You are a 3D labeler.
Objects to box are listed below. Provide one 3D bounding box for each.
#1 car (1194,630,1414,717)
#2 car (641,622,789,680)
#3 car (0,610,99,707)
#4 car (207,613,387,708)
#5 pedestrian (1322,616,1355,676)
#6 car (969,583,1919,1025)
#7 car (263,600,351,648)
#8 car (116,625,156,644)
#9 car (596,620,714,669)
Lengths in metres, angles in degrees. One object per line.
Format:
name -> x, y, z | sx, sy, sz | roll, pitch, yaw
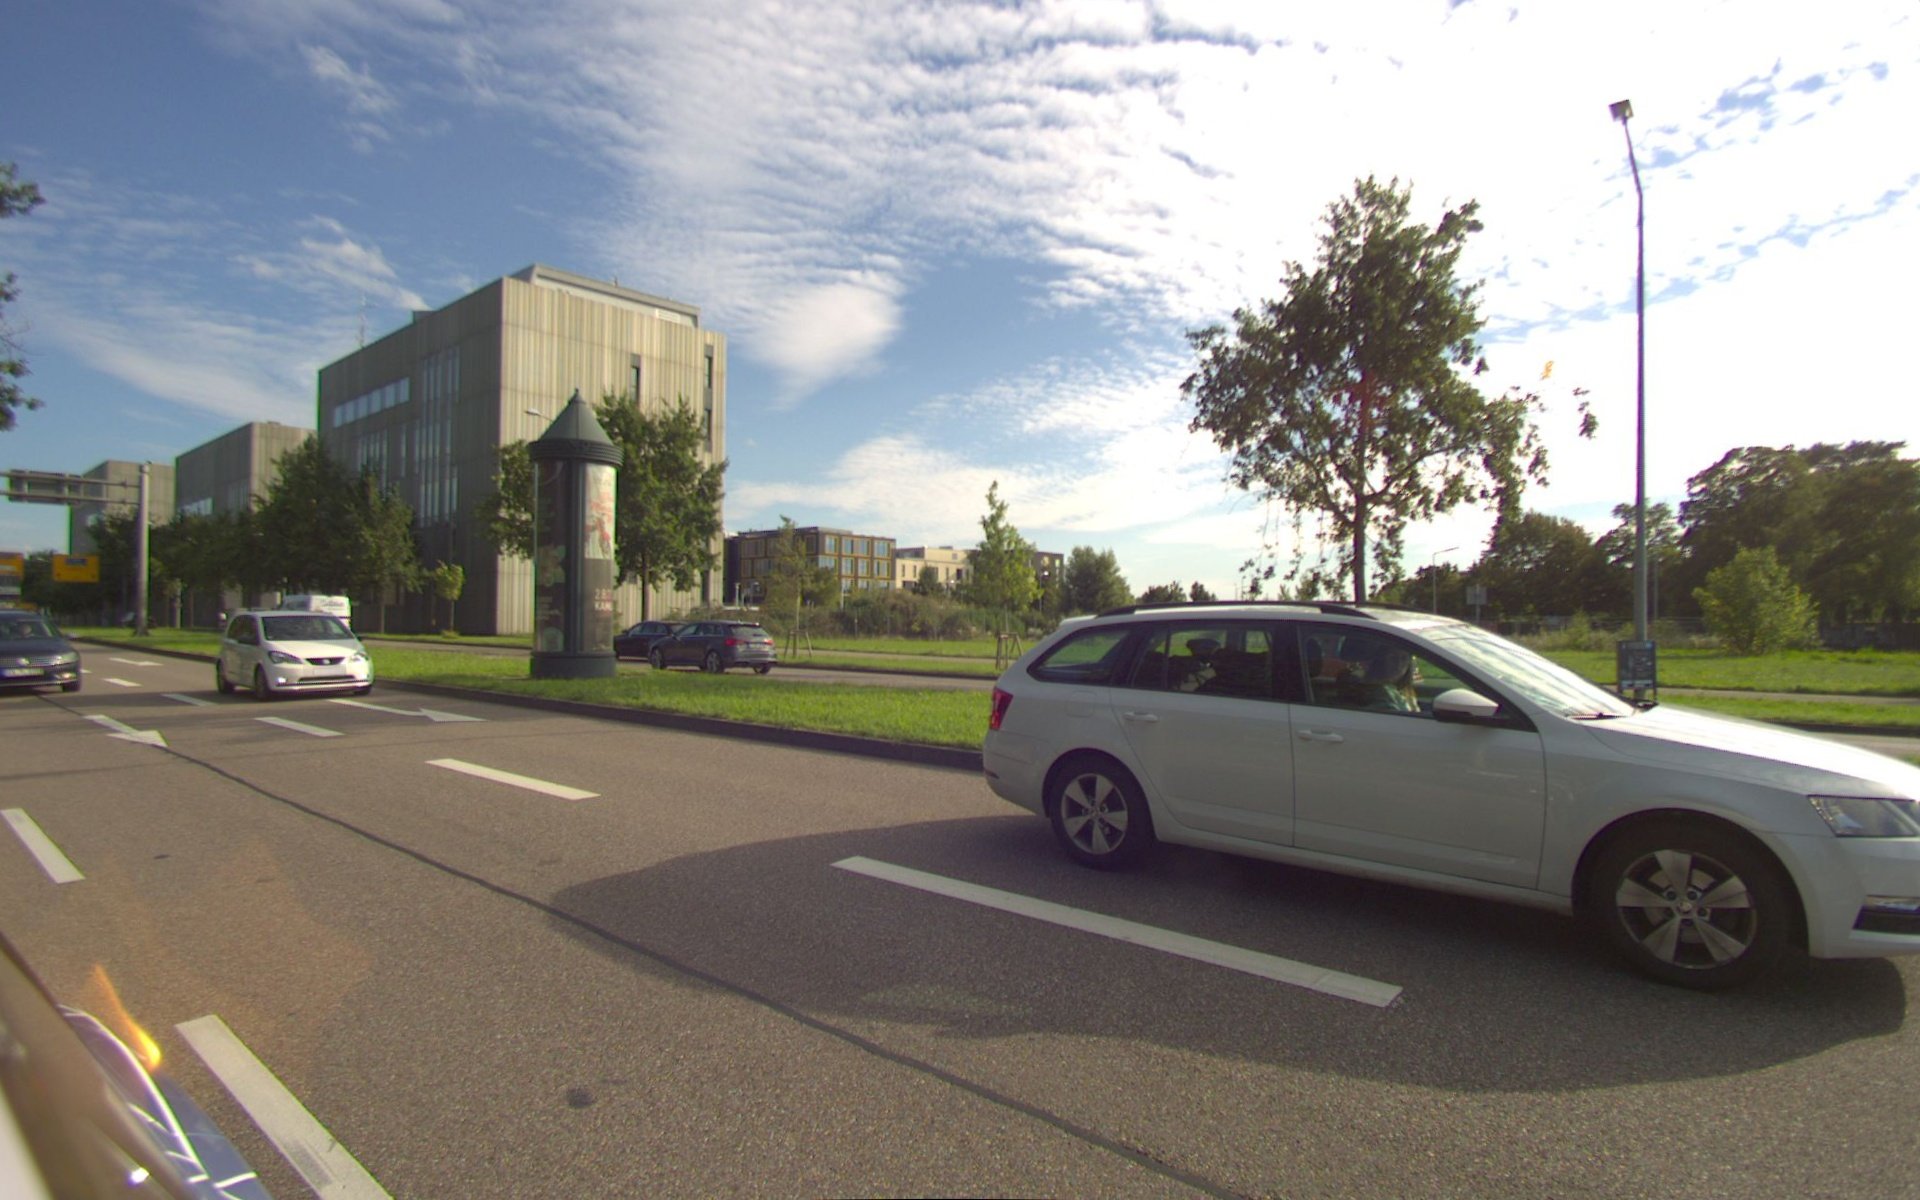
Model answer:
car -> 6.393, 1.308, 18.918 | 3.582, 1.445, 1.665 | -1, -2, 35
car -> -6.650, 1.351, 27.315 | 4.066, 1.445, 1.831 | -1, -4, 41
car -> -17.619, 1.016, 18.790 | 4.845, 1.578, 1.971 | -1, 0, 44
car -> -11.581, 0.972, 17.604 | 3.658, 1.475, 1.743 | -1, -1, 42
pedestrian -> 10.635, 1.273, 28.446 | 0.658, 1.642, 0.620 | -2, -1, 44
car -> 2.389, 0.699, 5.249 | 4.637, 1.456, 1.831 | -1, -1, 42
car -> -33.276, 1.223, 51.528 | 5.535, 2.272, 2.007 | -1, -3, 39
car -> -66.200, 2.733, 81.297 | 4.453, 1.475, 1.831 | -1, -1, 42
car -> -10.614, 1.536, 35.101 | 4.453, 1.584, 1.831 | -1, -4, 42
